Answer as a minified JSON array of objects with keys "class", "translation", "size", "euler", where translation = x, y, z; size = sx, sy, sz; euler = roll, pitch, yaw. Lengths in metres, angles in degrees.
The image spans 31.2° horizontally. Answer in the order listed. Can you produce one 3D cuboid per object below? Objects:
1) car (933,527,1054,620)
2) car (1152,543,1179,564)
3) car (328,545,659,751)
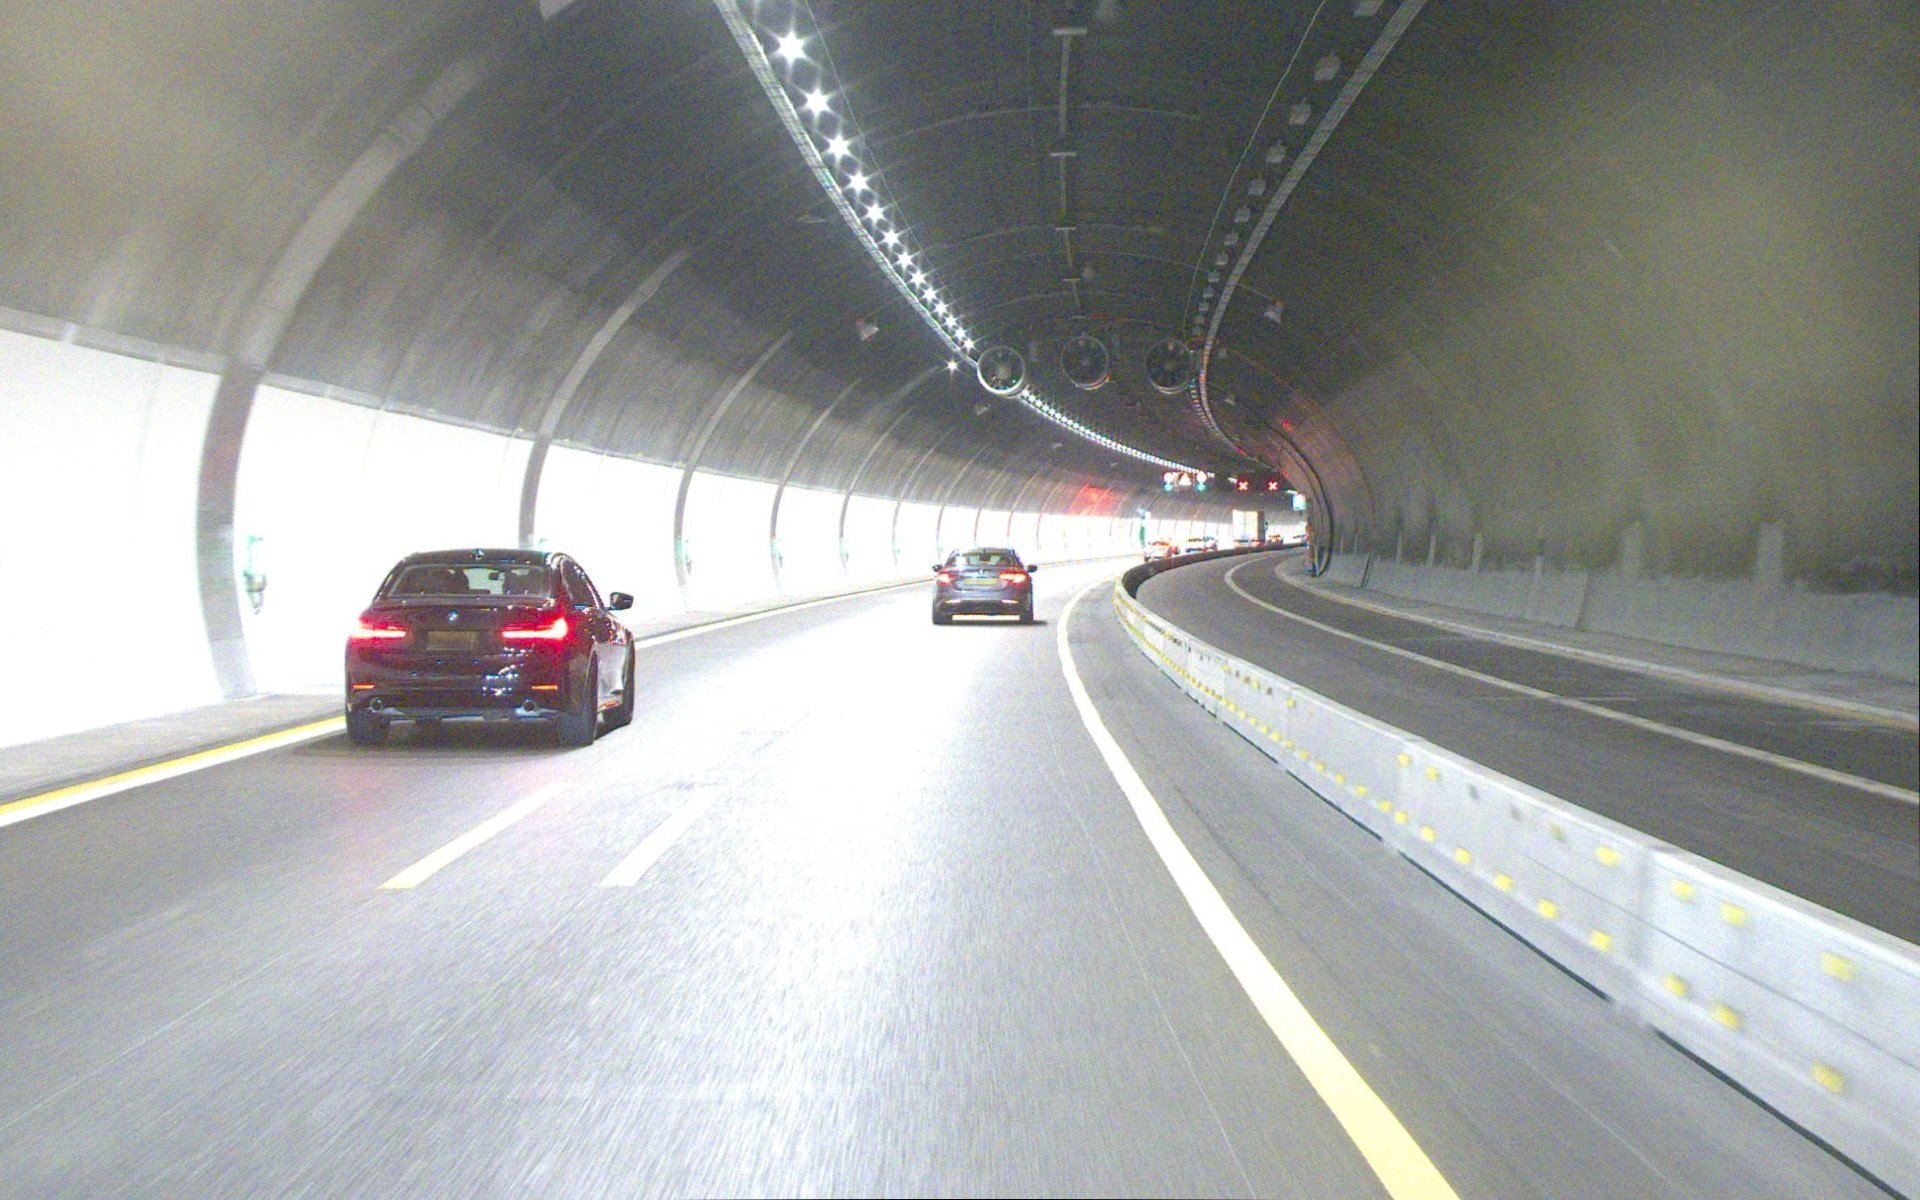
[{"class":"car","translation":[0.658,-0.528,64.592],"size":[2.141,1.700,4.000],"euler":[0,1,2]},{"class":"car","translation":[13.375,-3.025,223.486],"size":[1.595,1.328,3.750],"euler":[0,1,6]},{"class":"car","translation":[-3.525,0.299,26.855],"size":[1.778,1.433,4.883],"euler":[0,1,2]}]
